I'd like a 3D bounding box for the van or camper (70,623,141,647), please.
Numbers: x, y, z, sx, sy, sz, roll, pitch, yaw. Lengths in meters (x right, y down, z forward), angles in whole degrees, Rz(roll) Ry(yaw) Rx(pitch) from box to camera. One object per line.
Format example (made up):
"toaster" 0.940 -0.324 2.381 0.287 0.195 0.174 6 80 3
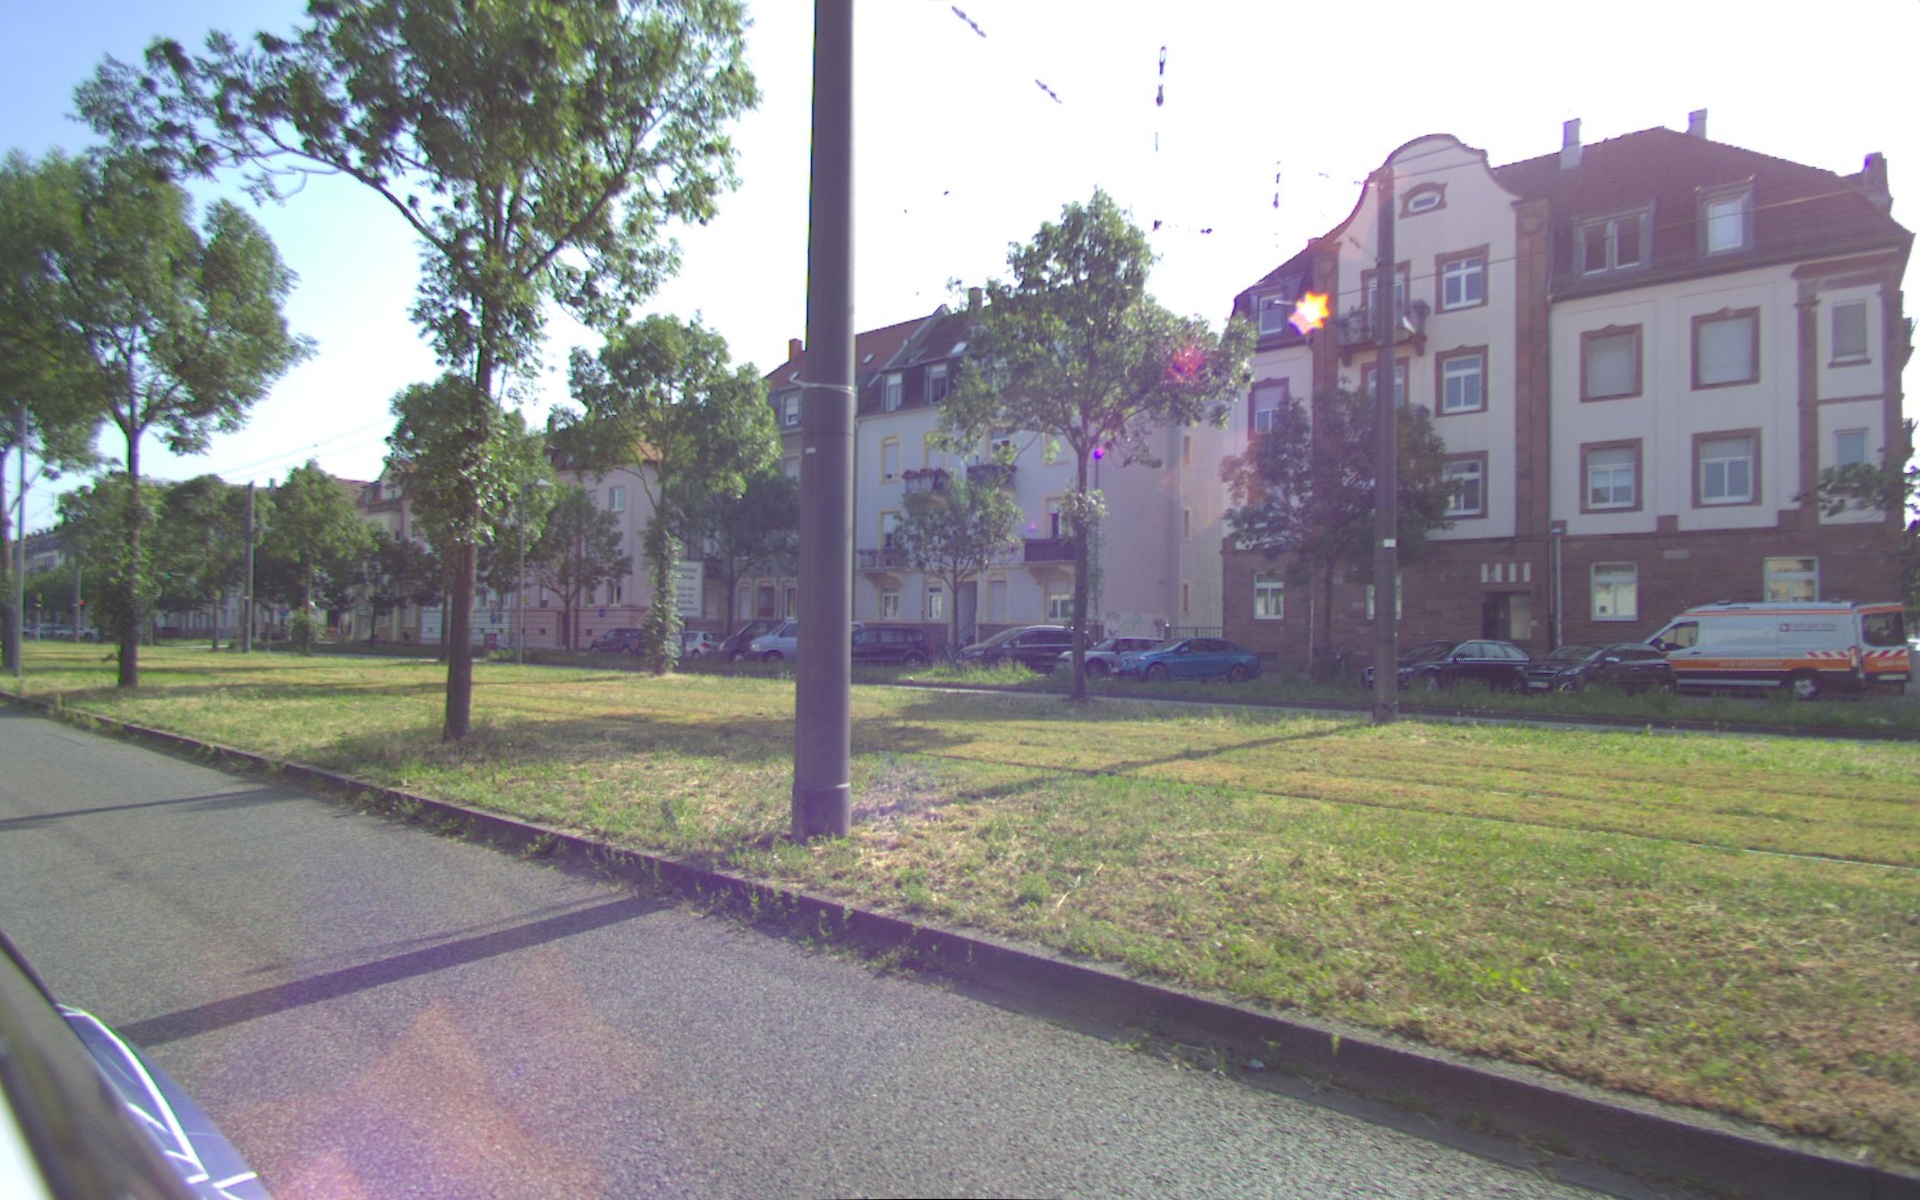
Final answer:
"van or camper" -97.311 3.959 115.315 5.825 2.593 2.206 0 0 -16

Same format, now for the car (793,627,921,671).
"car" -3.812 1.776 37.178 4.402 1.430 1.980 -1 0 -14

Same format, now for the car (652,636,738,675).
"car" -12.384 2.546 47.232 4.153 1.641 1.870 -1 -1 41

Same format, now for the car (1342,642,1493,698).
"car" 11.037 1.656 24.463 3.110 1.169 1.502 0 0 -18

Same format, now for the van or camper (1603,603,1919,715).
"van or camper" 20.553 1.412 26.247 6.349 2.586 2.019 -1 0 39

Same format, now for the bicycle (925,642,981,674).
"bicycle" -0.254 2.032 35.462 1.992 1.057 0.462 -1 0 26

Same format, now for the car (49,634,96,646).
"car" -108.122 4.875 123.353 3.946 1.326 1.667 0 0 -16

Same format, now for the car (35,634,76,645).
"car" -117.766 5.137 131.836 3.624 1.251 1.667 0 0 -16

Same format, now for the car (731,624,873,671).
"car" -6.143 1.790 39.253 5.132 1.636 2.063 0 0 -19

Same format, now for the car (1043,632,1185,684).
"car" 4.650 1.723 30.675 3.932 1.427 1.582 0 0 -16

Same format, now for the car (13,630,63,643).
"car" -128.114 5.040 140.629 4.868 1.739 1.862 0 0 -16

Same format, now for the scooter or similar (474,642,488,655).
"scooter or similar" -31.744 3.231 67.061 0.596 0.819 1.223 0 0 -40

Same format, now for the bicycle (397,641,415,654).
"bicycle" -40.587 3.464 74.179 1.945 0.863 0.443 -1 0 38

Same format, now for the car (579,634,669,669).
"car" -16.973 2.565 51.055 4.768 1.641 1.975 -1 -1 38

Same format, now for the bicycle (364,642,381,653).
"bicycle" -45.557 3.666 78.480 1.945 0.795 0.433 -1 0 38

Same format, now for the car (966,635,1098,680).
"car" 2.330 1.842 32.843 3.931 1.278 1.644 0 0 -18

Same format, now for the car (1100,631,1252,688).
"car" 6.102 1.642 28.658 3.931 1.427 1.582 0 0 -18

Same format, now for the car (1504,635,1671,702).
"car" 14.100 1.506 22.778 3.110 1.336 1.501 0 0 -17

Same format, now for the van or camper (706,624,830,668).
"van or camper" -7.907 1.846 41.665 4.767 1.636 2.009 0 0 -18
